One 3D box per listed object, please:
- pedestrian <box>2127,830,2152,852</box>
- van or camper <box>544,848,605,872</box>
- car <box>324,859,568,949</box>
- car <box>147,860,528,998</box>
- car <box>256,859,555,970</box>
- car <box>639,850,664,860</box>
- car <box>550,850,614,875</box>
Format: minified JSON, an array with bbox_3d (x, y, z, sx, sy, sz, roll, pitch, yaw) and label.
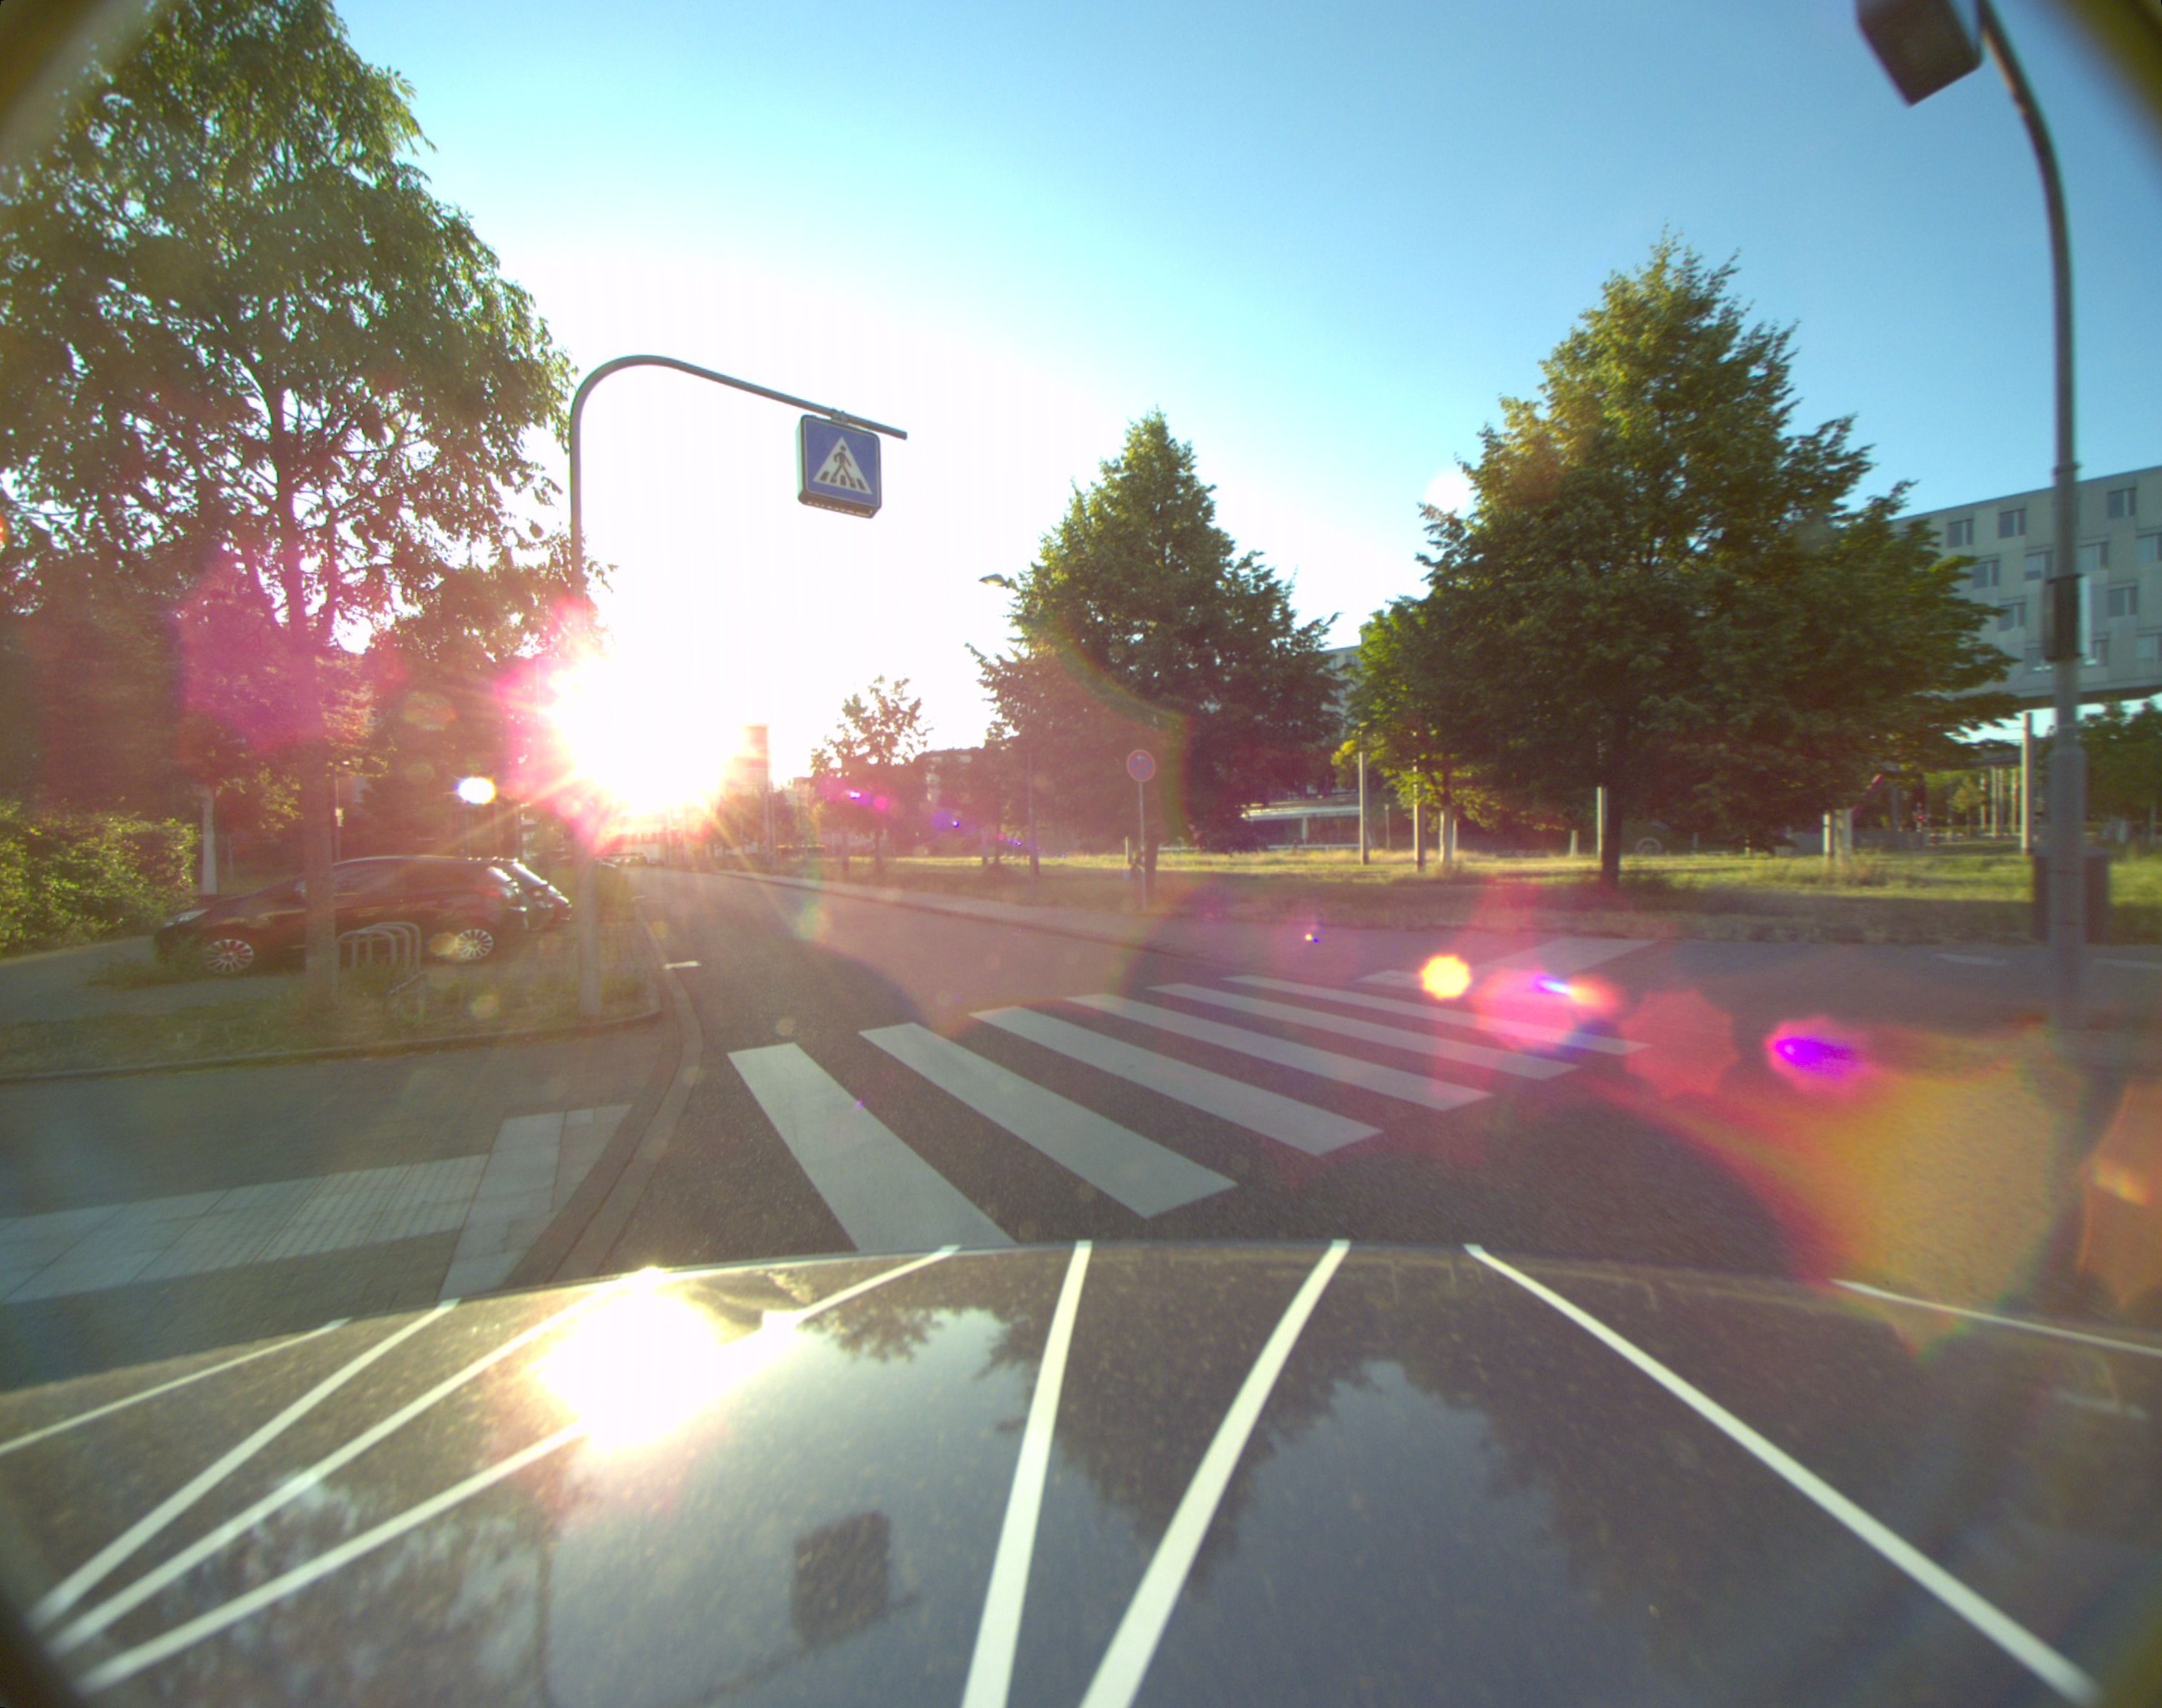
[{"bbox_3d":[89.568,-1.119,64.286,1.054,1.824,0.897,0,2,41],"label":"pedestrian"},{"bbox_3d":[-40.023,0.428,60.082,3.886,1.685,1.829,-3,2,-36],"label":"van or camper"},{"bbox_3d":[-12.078,0.879,14.756,3.416,1.492,1.590,-1,1,-33],"label":"car"},{"bbox_3d":[-9.752,0.876,10.388,3.416,1.513,1.686,-1,1,-33],"label":"car"},{"bbox_3d":[-10.740,0.878,12.443,3.416,1.492,1.590,-1,1,-33],"label":"car"},{"bbox_3d":[-78.899,0.185,139.573,3.886,1.604,1.698,-3,2,-35],"label":"car"},{"bbox_3d":[-38.043,0.613,57.988,3.886,1.685,1.698,-3,2,-38],"label":"car"}]
